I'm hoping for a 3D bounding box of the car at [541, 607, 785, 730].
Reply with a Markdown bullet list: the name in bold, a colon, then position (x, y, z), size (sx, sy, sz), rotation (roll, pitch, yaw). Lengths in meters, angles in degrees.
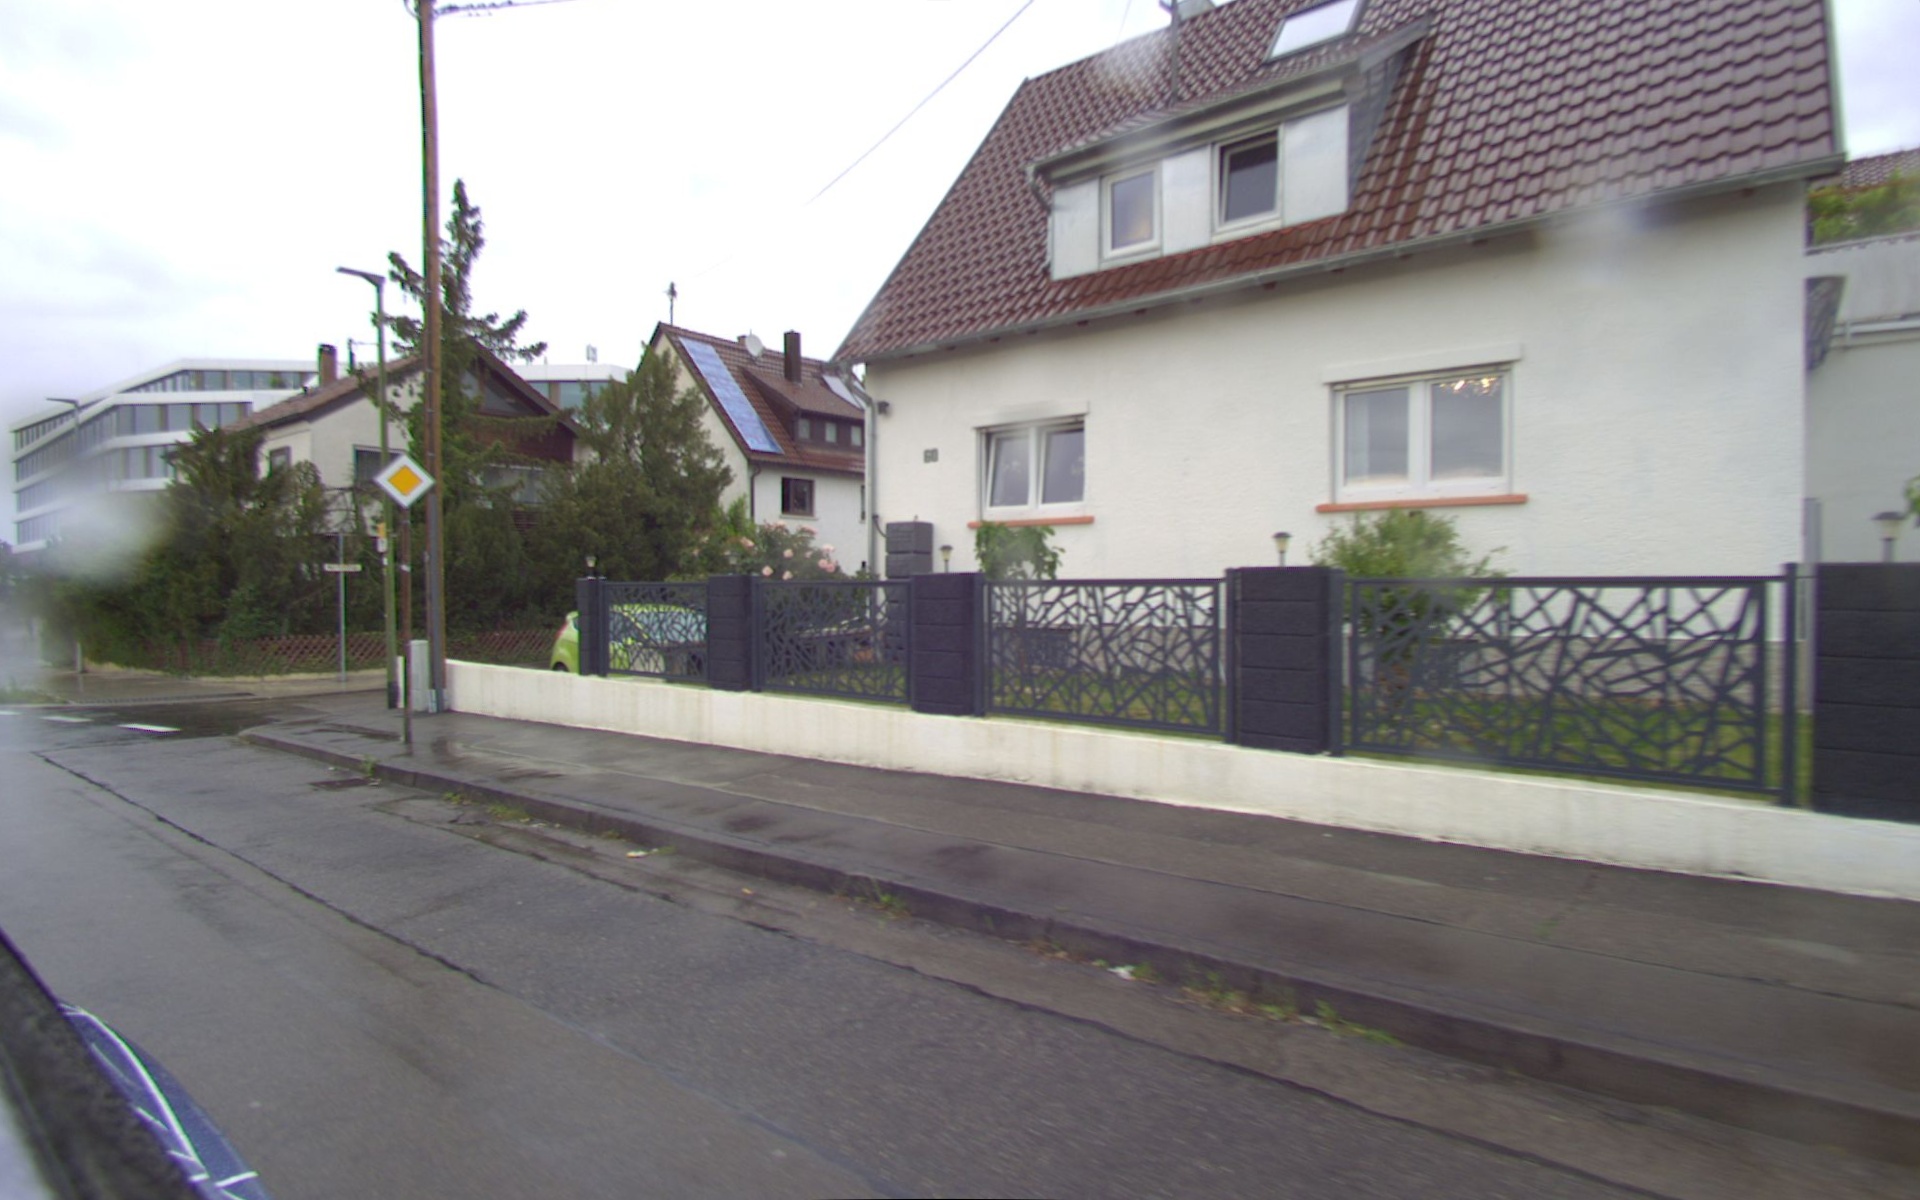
- **car**: position (-4.294, 0.863, 14.438), size (3.455, 1.478, 1.760), rotation (0, 1, 41)
